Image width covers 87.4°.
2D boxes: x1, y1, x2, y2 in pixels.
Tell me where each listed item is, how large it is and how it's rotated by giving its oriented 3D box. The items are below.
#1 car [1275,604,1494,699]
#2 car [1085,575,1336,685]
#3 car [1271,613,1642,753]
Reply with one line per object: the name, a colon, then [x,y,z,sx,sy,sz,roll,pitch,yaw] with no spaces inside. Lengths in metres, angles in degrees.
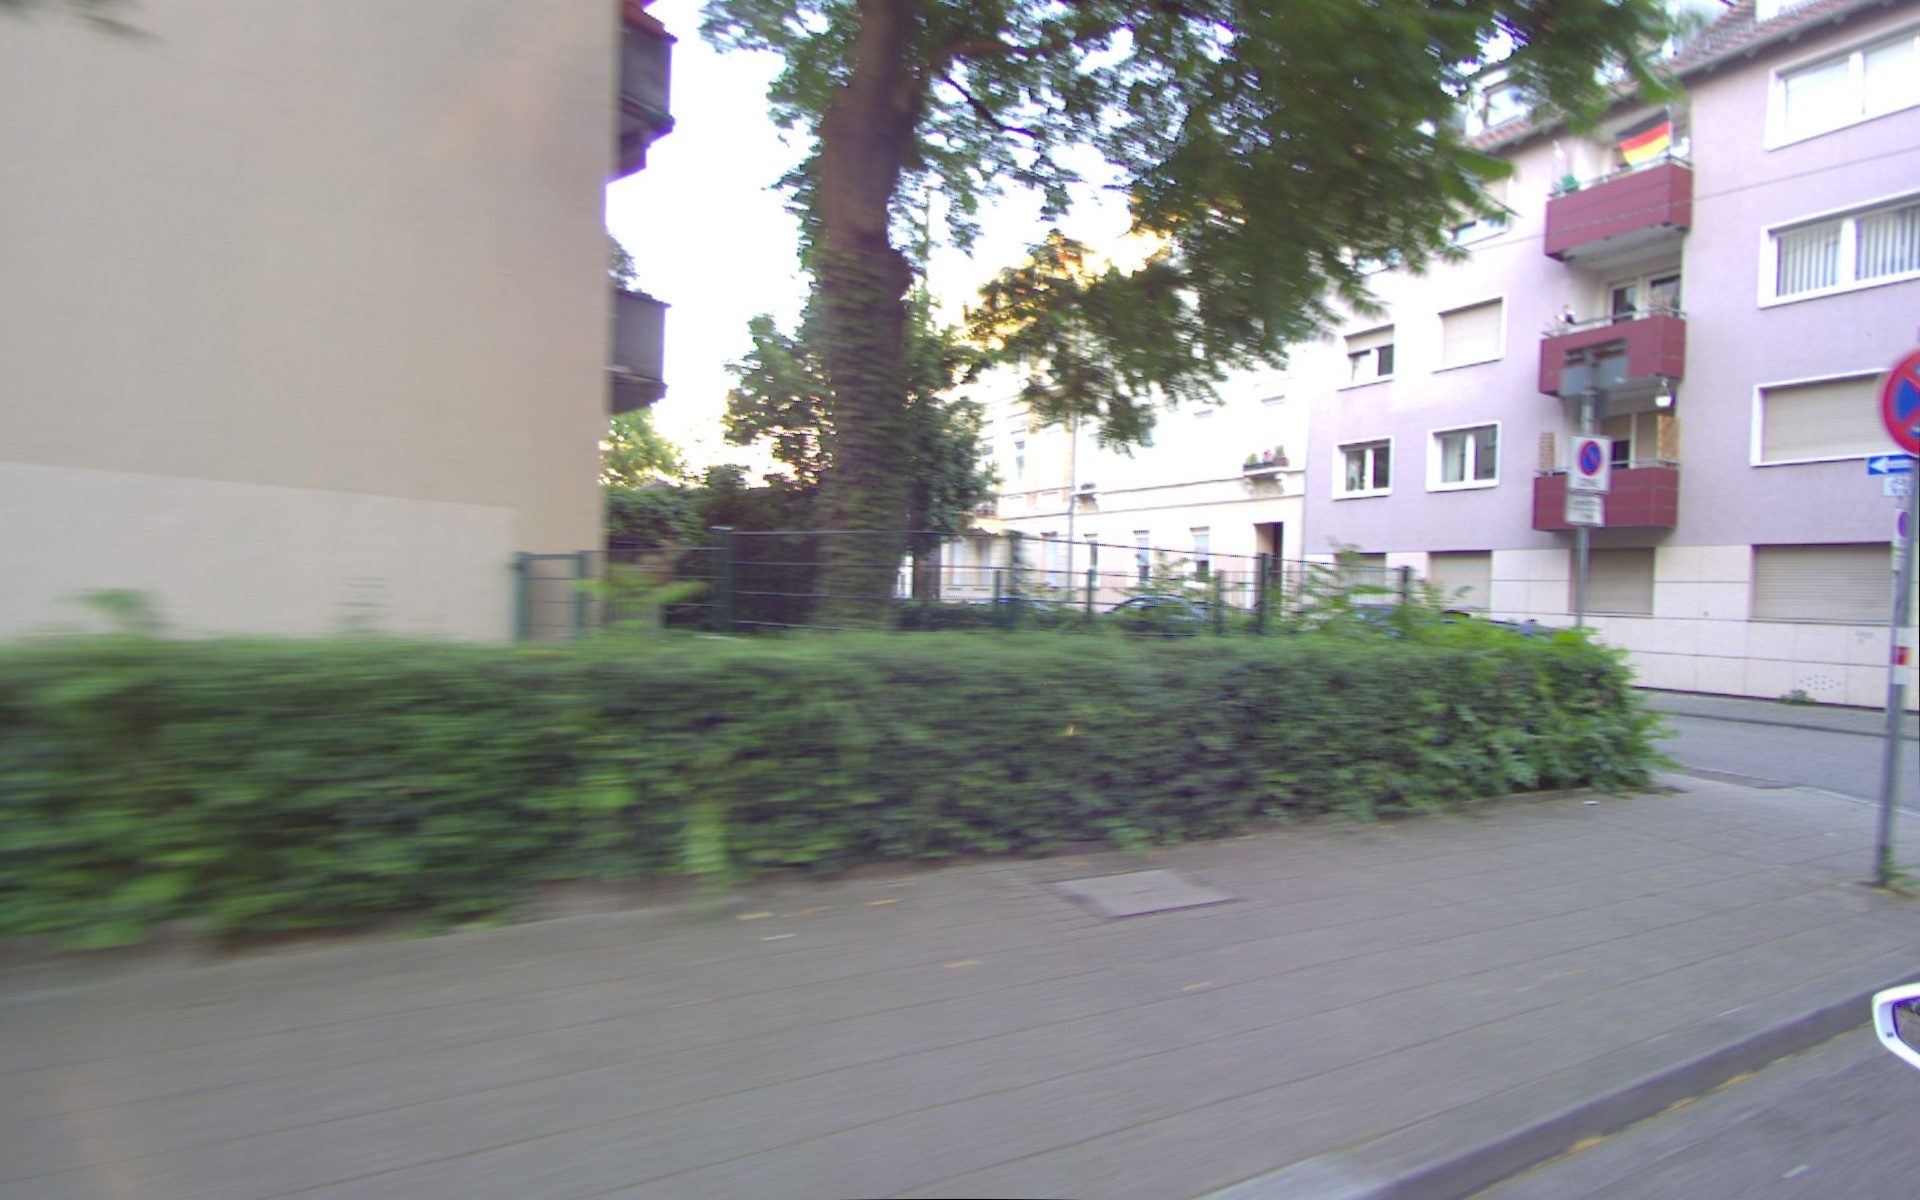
car: [8.637,0.997,20.740,1.775,1.677,3.814,4,-1,-30]
car: [4.181,0.435,17.533,1.805,1.662,4.353,1,1,-27]
car: [6.498,0.989,13.683,1.667,1.477,4.323,2,0,-30]
